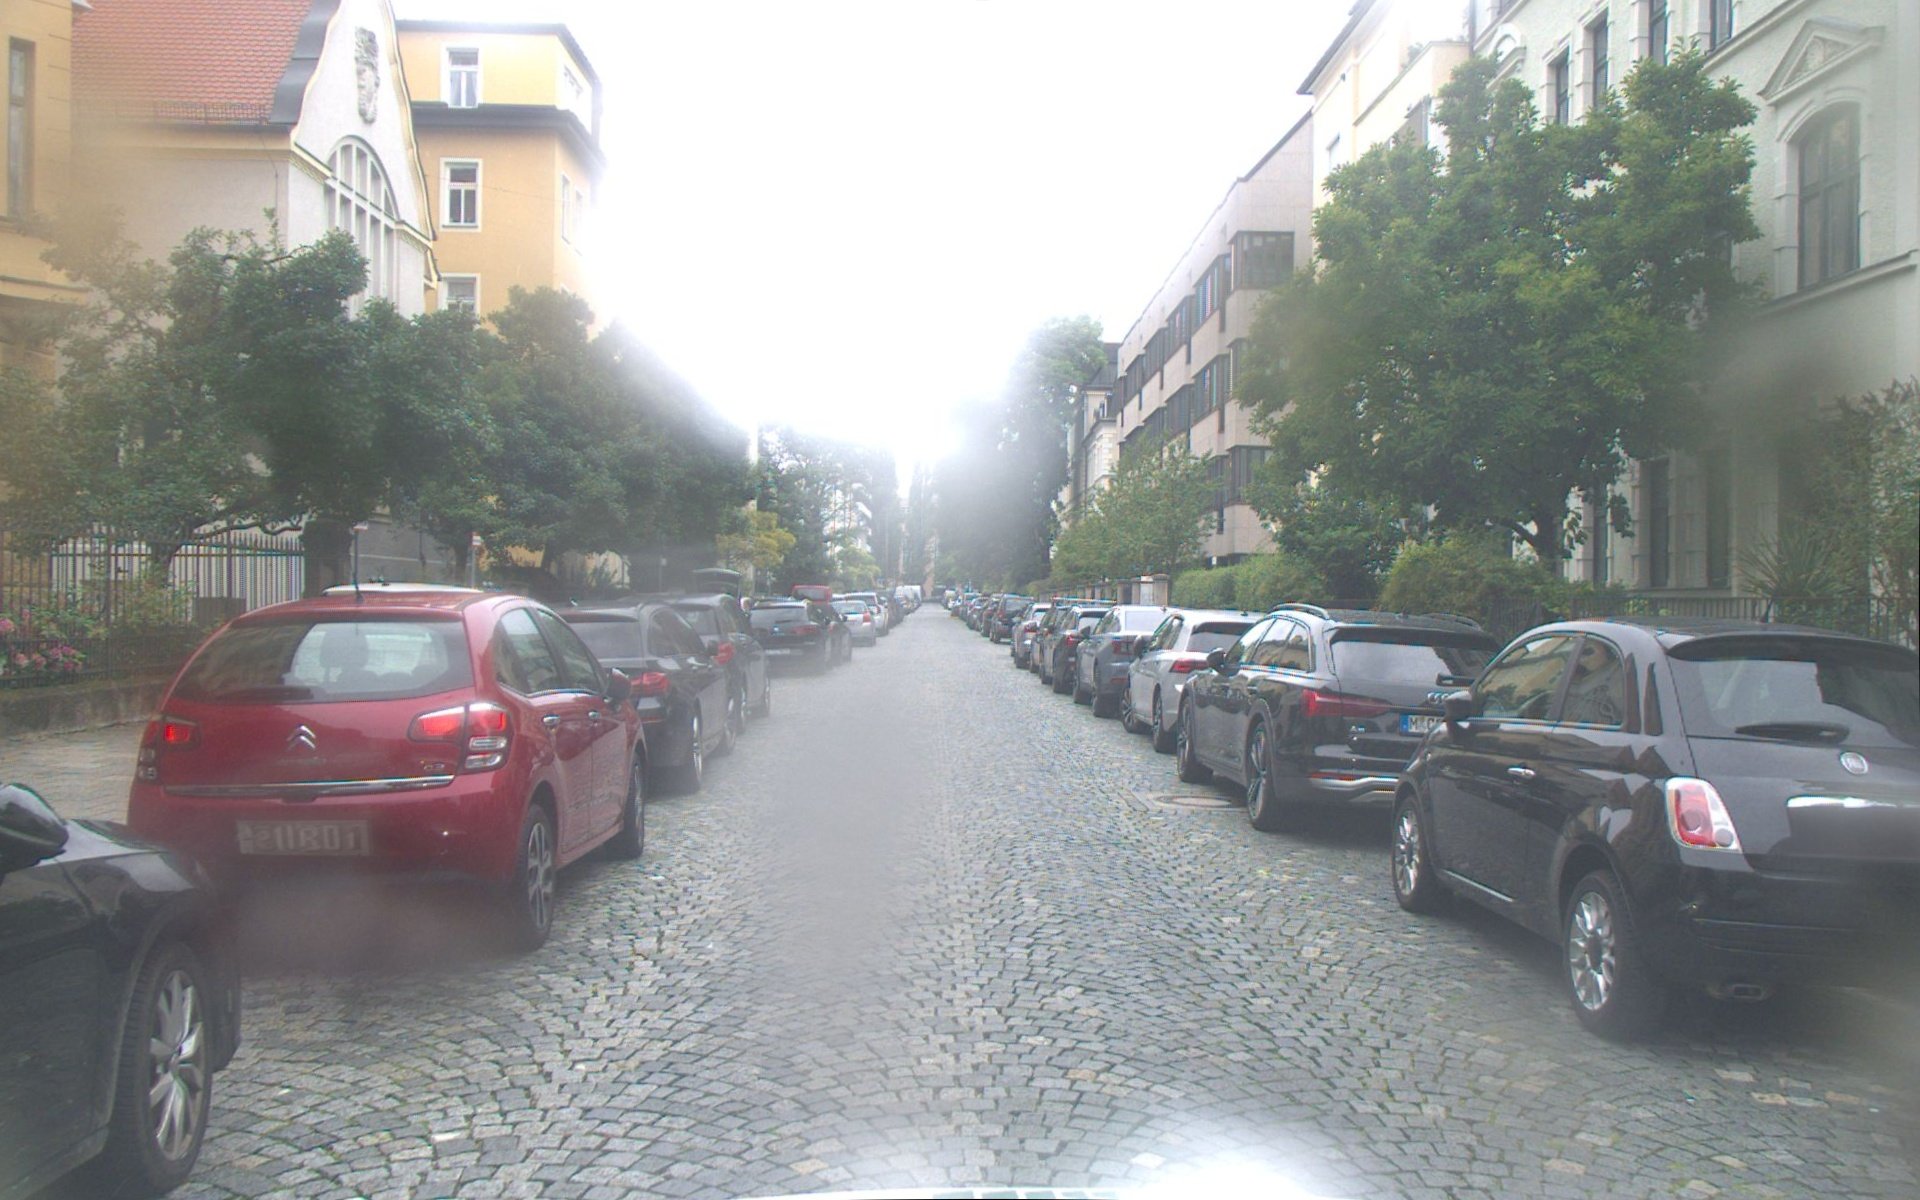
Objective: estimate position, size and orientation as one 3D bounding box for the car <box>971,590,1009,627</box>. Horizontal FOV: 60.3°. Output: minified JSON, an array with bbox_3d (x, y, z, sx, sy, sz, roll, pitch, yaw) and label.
[{"bbox_3d":[1.509,0.416,84.973,1.835,1.765,4.892,2,0,0],"label":"car"}]

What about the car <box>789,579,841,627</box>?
[{"bbox_3d":[-6.391,0.123,73.321,1.954,1.965,5.328,2,0,-2],"label":"car"}]

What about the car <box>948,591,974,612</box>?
[{"bbox_3d":[0.082,0.108,135.559,1.836,1.529,4.508,3,0,-3],"label":"car"}]

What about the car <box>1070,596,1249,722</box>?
[{"bbox_3d":[2.701,0.750,23.467,1.844,1.514,4.813,3,0,-1],"label":"car"}]

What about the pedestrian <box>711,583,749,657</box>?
[{"bbox_3d":[-5.299,0.462,38.123,0.750,1.679,0.582,1,0,0],"label":"pedestrian"}]

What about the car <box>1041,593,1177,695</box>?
[{"bbox_3d":[2.466,0.694,28.597,1.782,1.514,5.049,3,0,-1],"label":"car"}]

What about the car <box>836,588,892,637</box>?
[{"bbox_3d":[-3.872,0.488,67.642,1.965,1.840,5.174,-2,0,0],"label":"car"}]

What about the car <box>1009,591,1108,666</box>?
[{"bbox_3d":[2.223,0.610,38.681,1.953,1.579,4.985,2,0,0],"label":"car"}]

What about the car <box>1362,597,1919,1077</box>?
[{"bbox_3d":[3.111,0.797,7.286,1.633,1.534,3.684,3,0,-2],"label":"car"}]

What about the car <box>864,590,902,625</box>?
[{"bbox_3d":[-4.076,0.374,87.087,1.828,1.765,4.400,-2,0,-4],"label":"car"}]

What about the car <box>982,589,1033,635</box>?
[{"bbox_3d":[1.927,0.482,68.606,1.823,1.731,4.812,3,0,-1],"label":"car"}]

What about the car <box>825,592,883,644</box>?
[{"bbox_3d":[-3.429,0.574,54.282,1.679,1.589,4.389,-2,0,-1],"label":"car"}]

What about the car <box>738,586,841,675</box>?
[{"bbox_3d":[-3.369,0.569,33.368,1.704,1.631,4.535,-1,0,-2],"label":"car"}]

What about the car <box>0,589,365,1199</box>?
[{"bbox_3d":[-2.741,0.790,2.903,1.781,1.535,4.641,-3,0,-2],"label":"car"}]

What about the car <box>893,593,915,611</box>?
[{"bbox_3d":[-5.447,0.200,161.315,1.834,1.607,4.209,2,0,2],"label":"car"}]

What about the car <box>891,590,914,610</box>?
[{"bbox_3d":[-4.975,-0.025,143.388,1.836,1.607,4.253,-2,0,-3],"label":"car"}]

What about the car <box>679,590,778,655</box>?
[{"bbox_3d":[-5.610,0.514,40.551,1.739,1.441,4.561,2,0,0],"label":"car"}]

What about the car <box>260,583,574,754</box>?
[{"bbox_3d":[-5.364,0.612,16.981,1.804,1.491,4.388,1,0,-1],"label":"car"}]

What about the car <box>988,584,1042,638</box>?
[{"bbox_3d":[1.965,0.377,60.143,1.586,1.781,3.885,3,0,-2],"label":"car"}]

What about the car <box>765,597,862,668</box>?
[{"bbox_3d":[-3.345,0.704,38.555,1.777,1.480,4.912,-2,0,0],"label":"car"}]

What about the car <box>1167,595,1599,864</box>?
[{"bbox_3d":[2.881,0.783,12.553,1.866,1.529,5.105,3,0,-1],"label":"car"}]

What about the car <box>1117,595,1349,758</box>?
[{"bbox_3d":[2.851,0.737,18.219,1.720,1.485,4.479,3,0,-1],"label":"car"}]

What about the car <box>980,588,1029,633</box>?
[{"bbox_3d":[1.971,0.428,74.049,1.753,1.827,4.507,4,0,-2],"label":"car"}]

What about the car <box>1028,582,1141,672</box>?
[{"bbox_3d":[2.476,0.515,33.801,1.855,1.682,4.293,2,0,-1],"label":"car"}]

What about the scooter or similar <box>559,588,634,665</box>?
[{"bbox_3d":[-7.616,0.535,34.789,1.040,1.550,2.634,0,0,-1],"label":"scooter or similar"}]

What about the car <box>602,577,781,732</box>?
[{"bbox_3d":[-3.076,0.575,19.660,1.705,1.613,4.189,-1,0,-4],"label":"car"}]

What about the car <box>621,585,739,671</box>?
[{"bbox_3d":[-5.575,0.527,33.394,1.704,1.563,4.465,2,0,-2],"label":"car"}]

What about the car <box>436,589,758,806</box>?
[{"bbox_3d":[-2.866,0.685,14.229,1.832,1.496,5.131,-1,0,-3],"label":"car"}]

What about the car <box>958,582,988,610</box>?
[{"bbox_3d":[0.965,-0.326,123.580,1.836,1.962,5.161,3,0,-3],"label":"car"}]

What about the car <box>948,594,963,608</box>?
[{"bbox_3d":[-0.595,0.119,197.243,1.753,1.547,4.000,0,0,0],"label":"car"}]

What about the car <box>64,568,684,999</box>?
[{"bbox_3d":[-2.593,0.698,8.451,1.804,1.613,4.190,-1,0,-2],"label":"car"}]

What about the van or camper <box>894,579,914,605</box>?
[{"bbox_3d":[-5.944,-0.860,176.181,1.953,2.698,4.000,-2,0,0],"label":"van or camper"}]

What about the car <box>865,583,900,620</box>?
[{"bbox_3d":[-4.292,0.057,92.204,1.835,1.950,4.825,-2,0,-2],"label":"car"}]

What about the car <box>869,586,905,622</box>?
[{"bbox_3d":[-4.331,0.231,98.655,1.953,1.950,5.175,-3,0,-2],"label":"car"}]

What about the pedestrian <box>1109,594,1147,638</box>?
[{"bbox_3d":[5.974,0.566,58.809,1.192,1.519,1.129,-2,0,1],"label":"pedestrian"}]
